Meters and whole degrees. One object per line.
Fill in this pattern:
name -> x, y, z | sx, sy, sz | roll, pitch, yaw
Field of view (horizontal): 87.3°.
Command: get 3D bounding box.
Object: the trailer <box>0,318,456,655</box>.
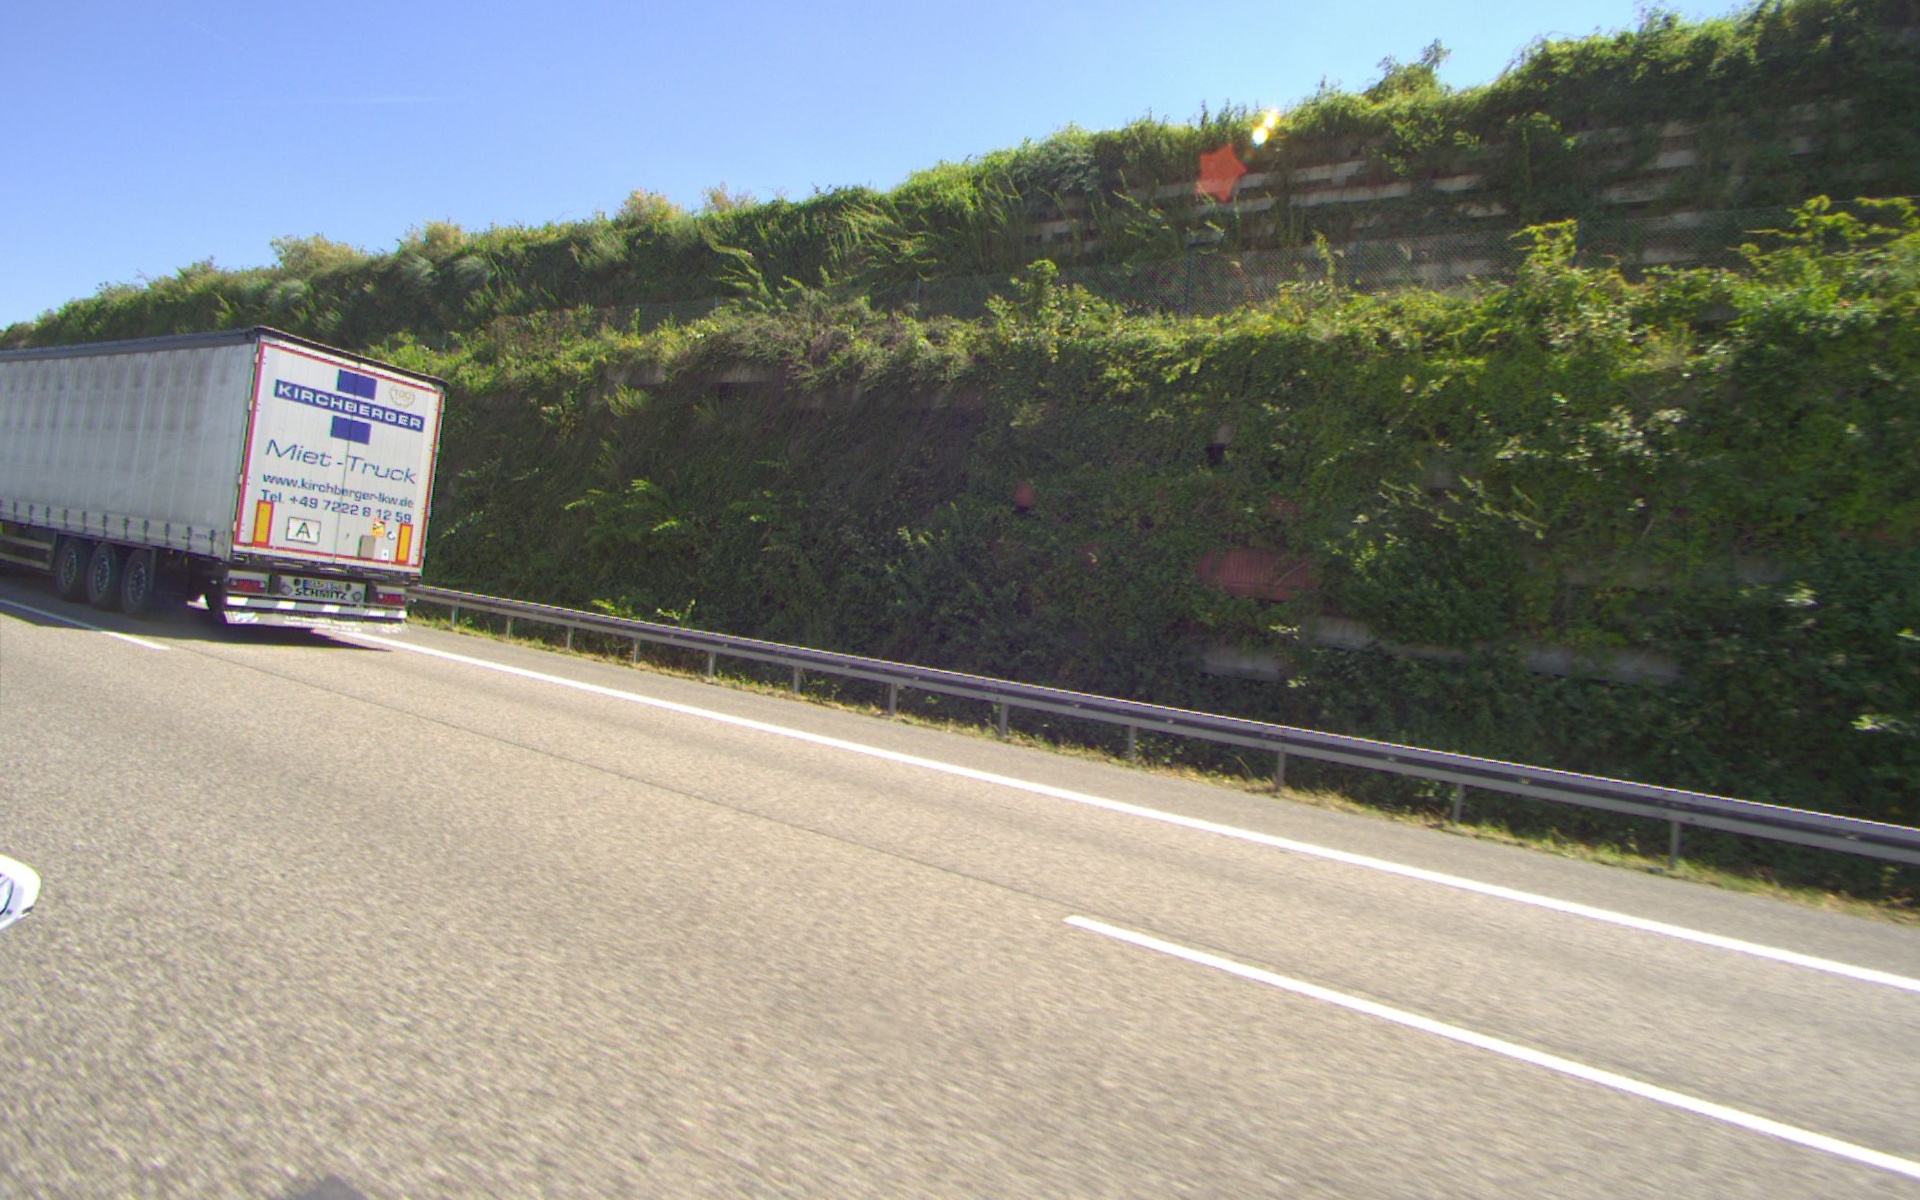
trailer -> -13.888, -1.973, 17.217 | 12.971, 4.152, 2.732 | 6, 0, 32

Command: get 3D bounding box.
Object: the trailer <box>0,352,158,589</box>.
trailer -> -20.071, -2.713, 21.087 | 6.677, 4.152, 2.716 | 7, 0, 32
